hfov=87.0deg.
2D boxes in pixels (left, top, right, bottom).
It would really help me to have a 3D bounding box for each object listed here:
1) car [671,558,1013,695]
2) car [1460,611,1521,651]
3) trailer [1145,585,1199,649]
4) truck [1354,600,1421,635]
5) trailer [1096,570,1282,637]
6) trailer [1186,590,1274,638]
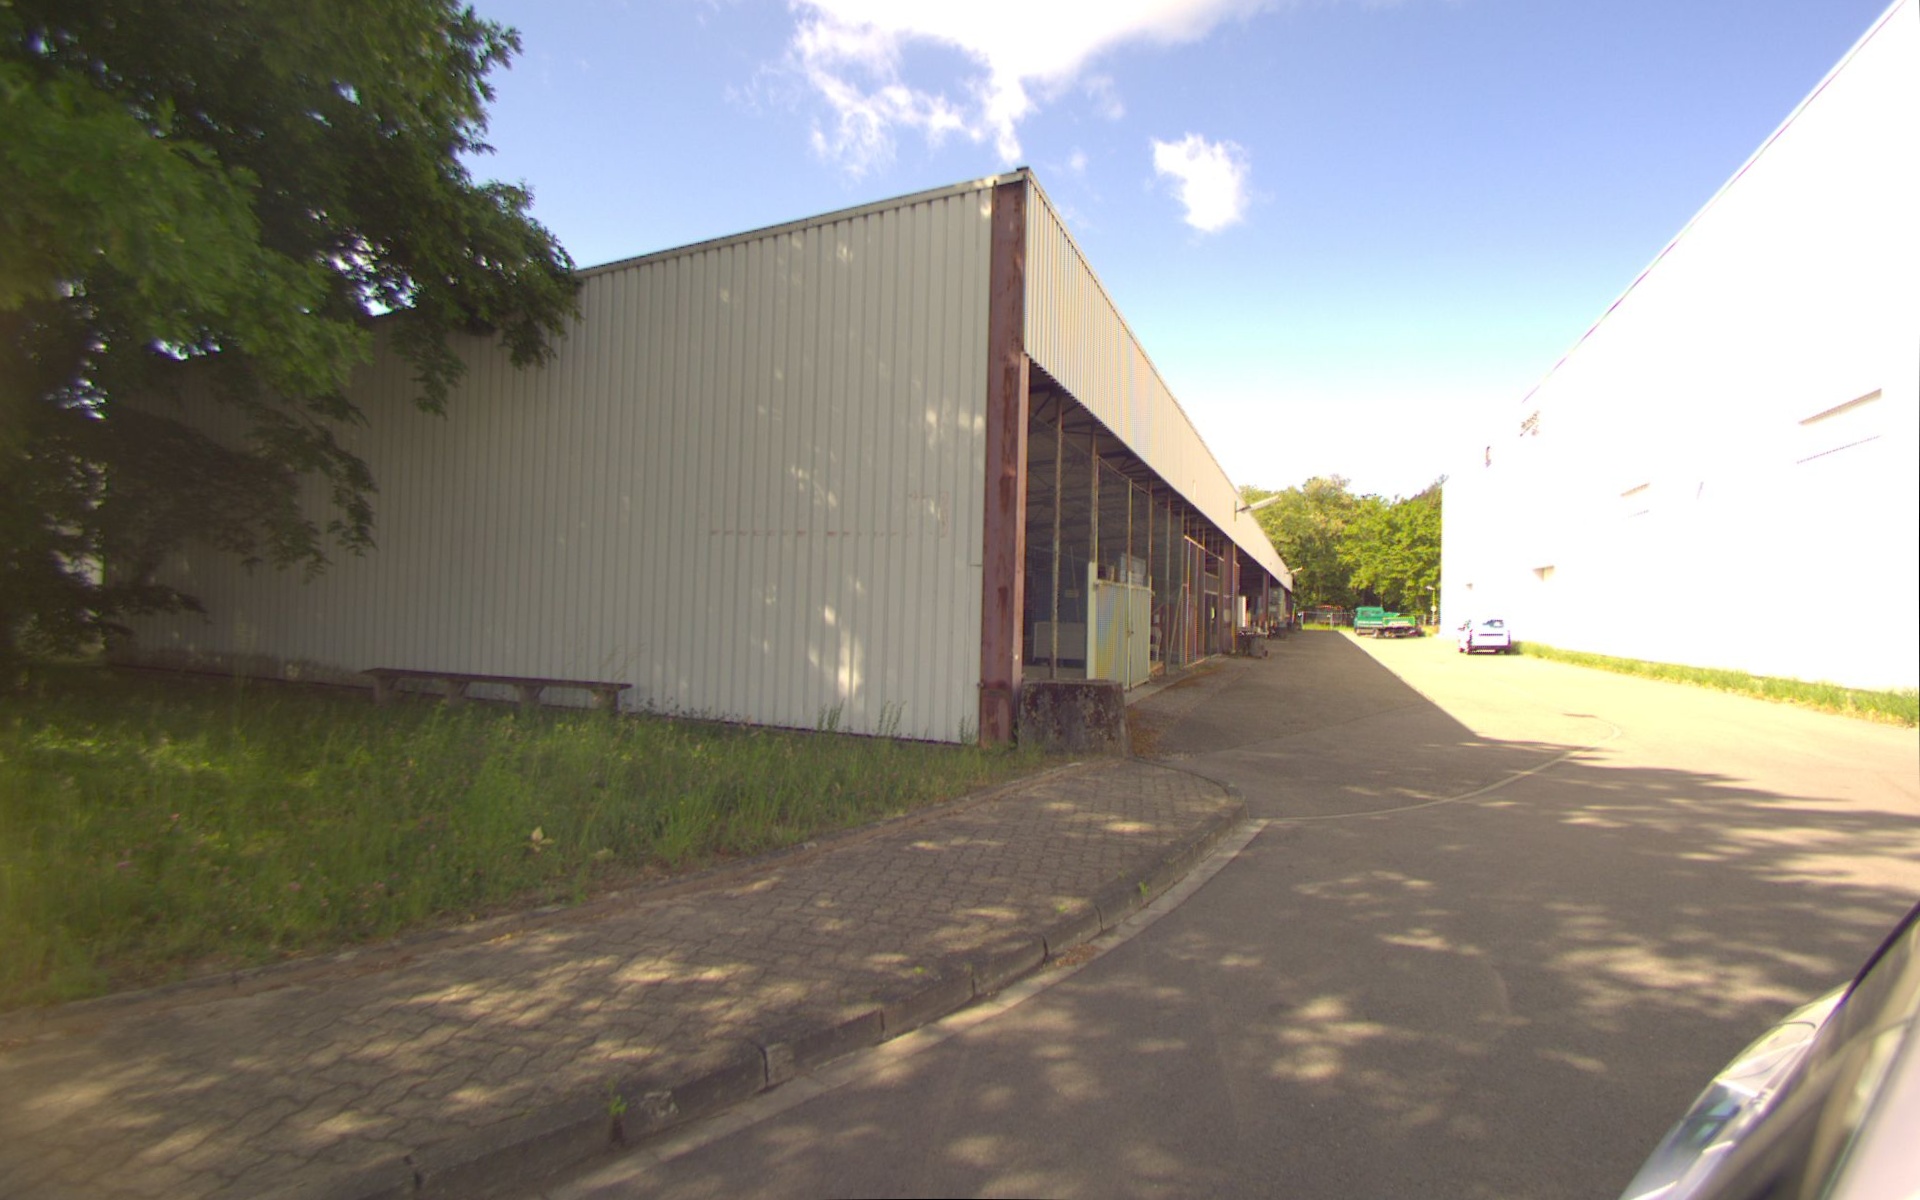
[{"bbox_3d":[-1.863,0.361,16.607,5.108,1.942,2.267,1,0,16],"label":"car"},{"bbox_3d":[25.025,1.421,47.918,1.910,1.813,4.567,0,-1,20],"label":"car"},{"bbox_3d":[7.840,0.598,37.202,1.561,2.170,3.502,3,0,17],"label":"trailer"},{"bbox_3d":[35.756,1.484,85.052,2.545,2.752,9.673,-1,-1,7],"label":"truck"},{"bbox_3d":[13.281,0.155,59.023,10.205,3.336,2.656,3,0,22],"label":"trailer"},{"bbox_3d":[14.864,0.753,55.721,4.503,2.364,1.676,3,0,21],"label":"trailer"}]
